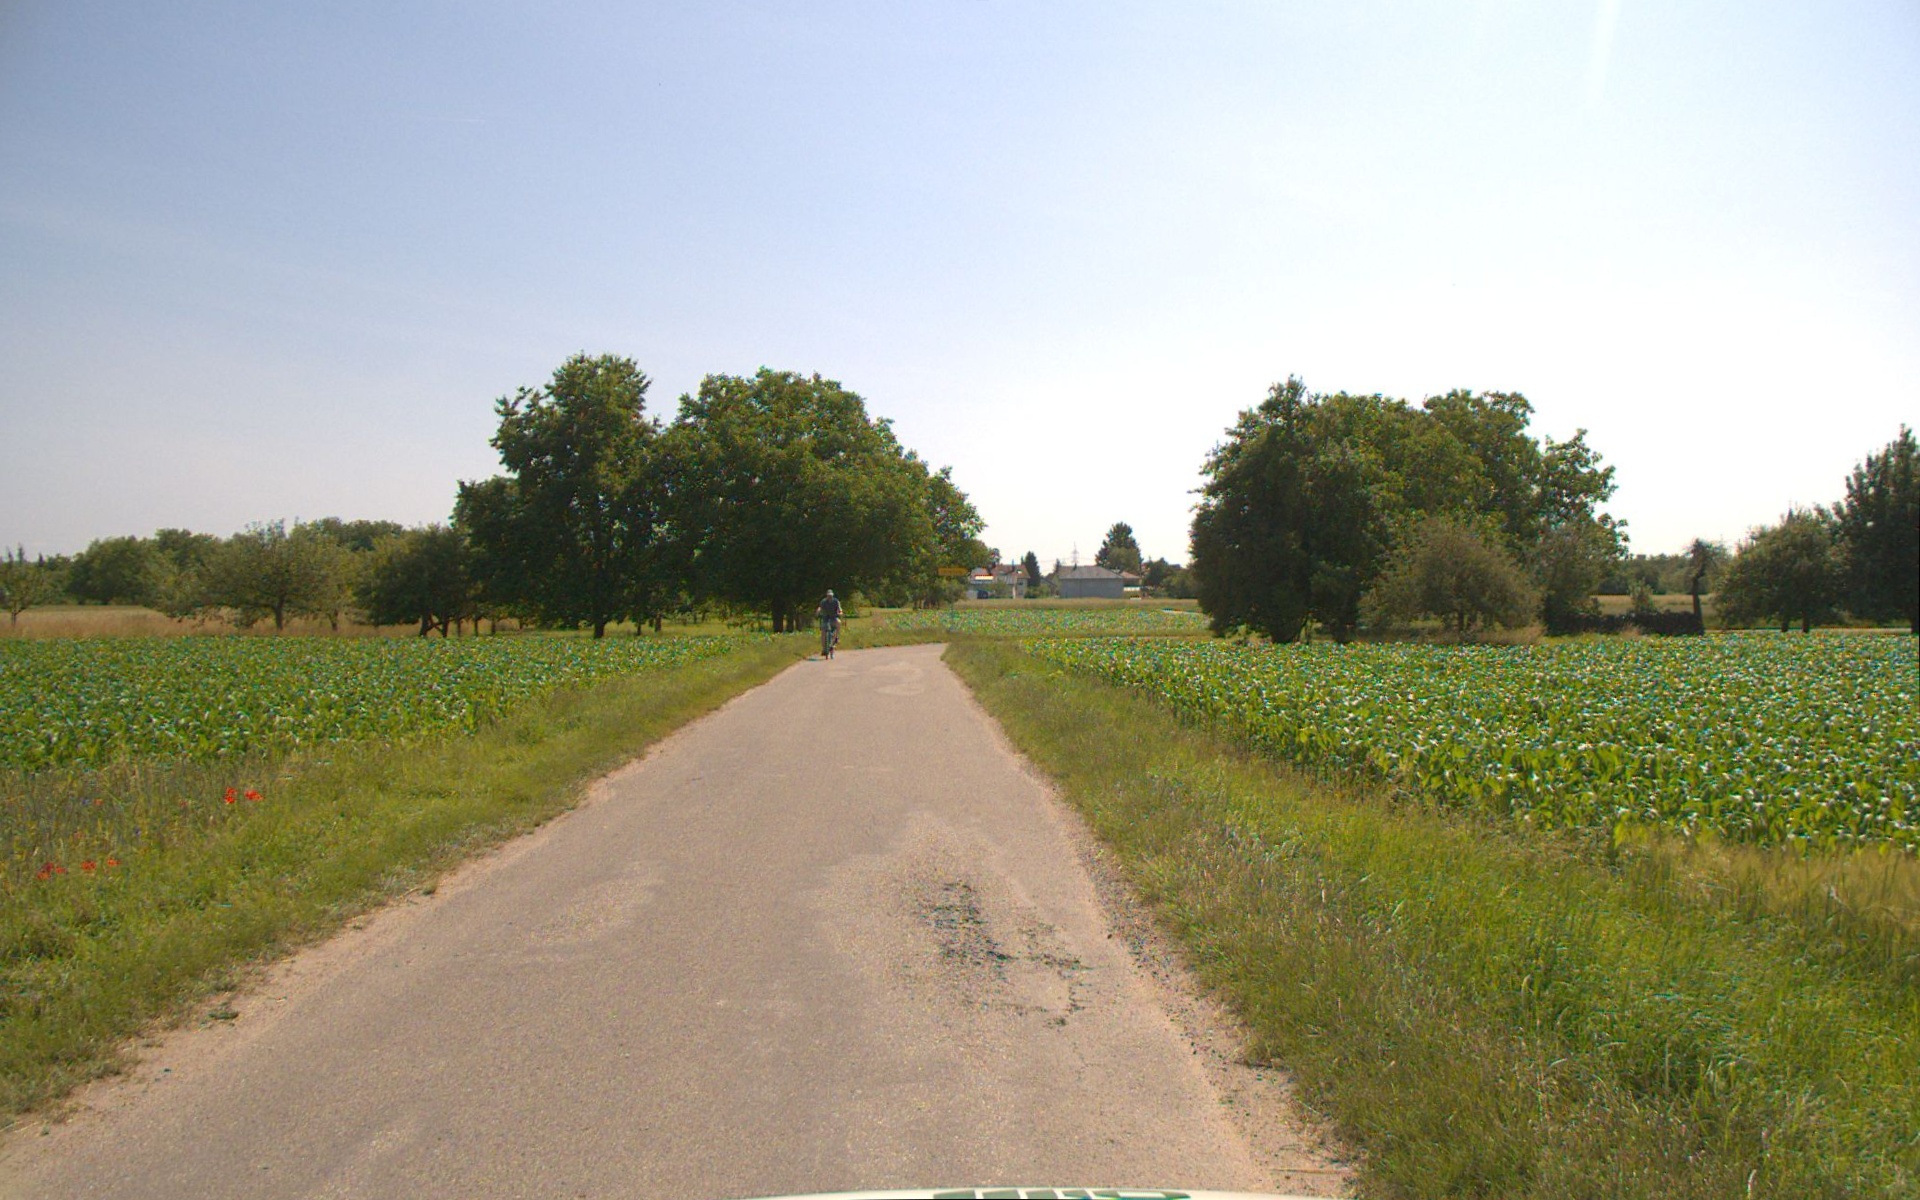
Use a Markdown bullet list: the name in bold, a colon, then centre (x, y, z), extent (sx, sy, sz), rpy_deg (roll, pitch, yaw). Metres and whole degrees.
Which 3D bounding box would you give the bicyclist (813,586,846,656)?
- **bicyclist**: centre (-3.462, 0.556, 44.034), extent (0.735, 1.822, 0.717), rpy_deg (-2, 0, 2)

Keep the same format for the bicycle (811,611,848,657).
- **bicycle**: centre (-3.454, 0.900, 44.028), extent (0.735, 1.147, 1.909), rpy_deg (-2, 0, 2)
